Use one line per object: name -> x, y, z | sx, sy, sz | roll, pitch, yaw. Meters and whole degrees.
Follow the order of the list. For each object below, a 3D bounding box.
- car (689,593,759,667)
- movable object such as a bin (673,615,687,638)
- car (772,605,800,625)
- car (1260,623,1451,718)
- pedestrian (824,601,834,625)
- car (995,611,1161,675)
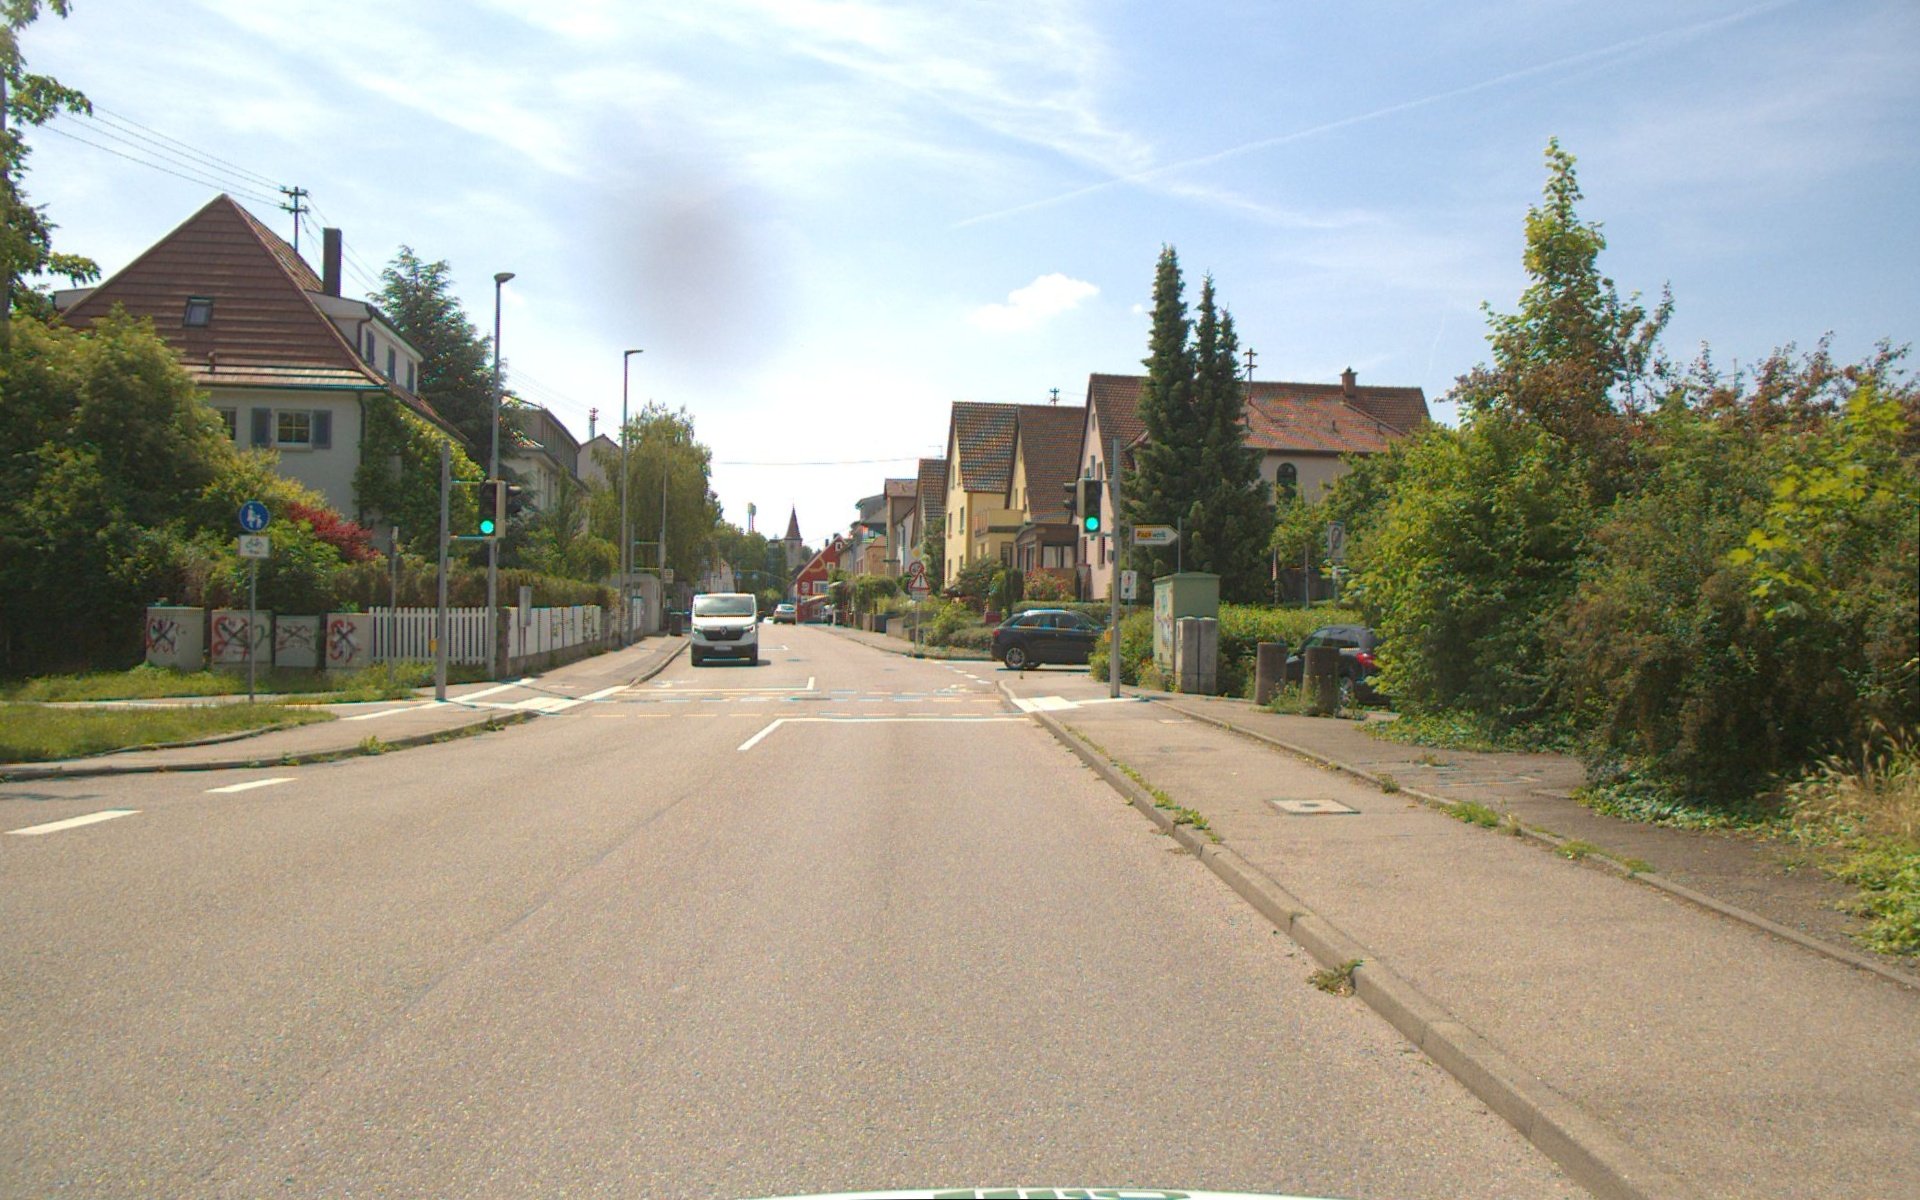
car -> -6.721, 0.807, 47.136 | 1.844, 1.999, 4.893 | 0, 0, -8
movable object such as a bin -> -13.251, 1.253, 78.161 | 0.596, 1.064, 0.724 | 2, 1, -8
car -> -14.324, 1.221, 135.833 | 1.958, 1.588, 4.302 | 0, 0, -11
car -> 7.153, 1.290, 30.343 | 1.681, 1.579, 4.048 | 2, -3, -15
pedestrian -> -9.778, 0.968, 123.183 | 0.634, 1.760, 0.607 | -2, 0, -8
car -> 3.183, 1.130, 44.472 | 4.200, 1.568, 1.540 | 1, 0, 16
